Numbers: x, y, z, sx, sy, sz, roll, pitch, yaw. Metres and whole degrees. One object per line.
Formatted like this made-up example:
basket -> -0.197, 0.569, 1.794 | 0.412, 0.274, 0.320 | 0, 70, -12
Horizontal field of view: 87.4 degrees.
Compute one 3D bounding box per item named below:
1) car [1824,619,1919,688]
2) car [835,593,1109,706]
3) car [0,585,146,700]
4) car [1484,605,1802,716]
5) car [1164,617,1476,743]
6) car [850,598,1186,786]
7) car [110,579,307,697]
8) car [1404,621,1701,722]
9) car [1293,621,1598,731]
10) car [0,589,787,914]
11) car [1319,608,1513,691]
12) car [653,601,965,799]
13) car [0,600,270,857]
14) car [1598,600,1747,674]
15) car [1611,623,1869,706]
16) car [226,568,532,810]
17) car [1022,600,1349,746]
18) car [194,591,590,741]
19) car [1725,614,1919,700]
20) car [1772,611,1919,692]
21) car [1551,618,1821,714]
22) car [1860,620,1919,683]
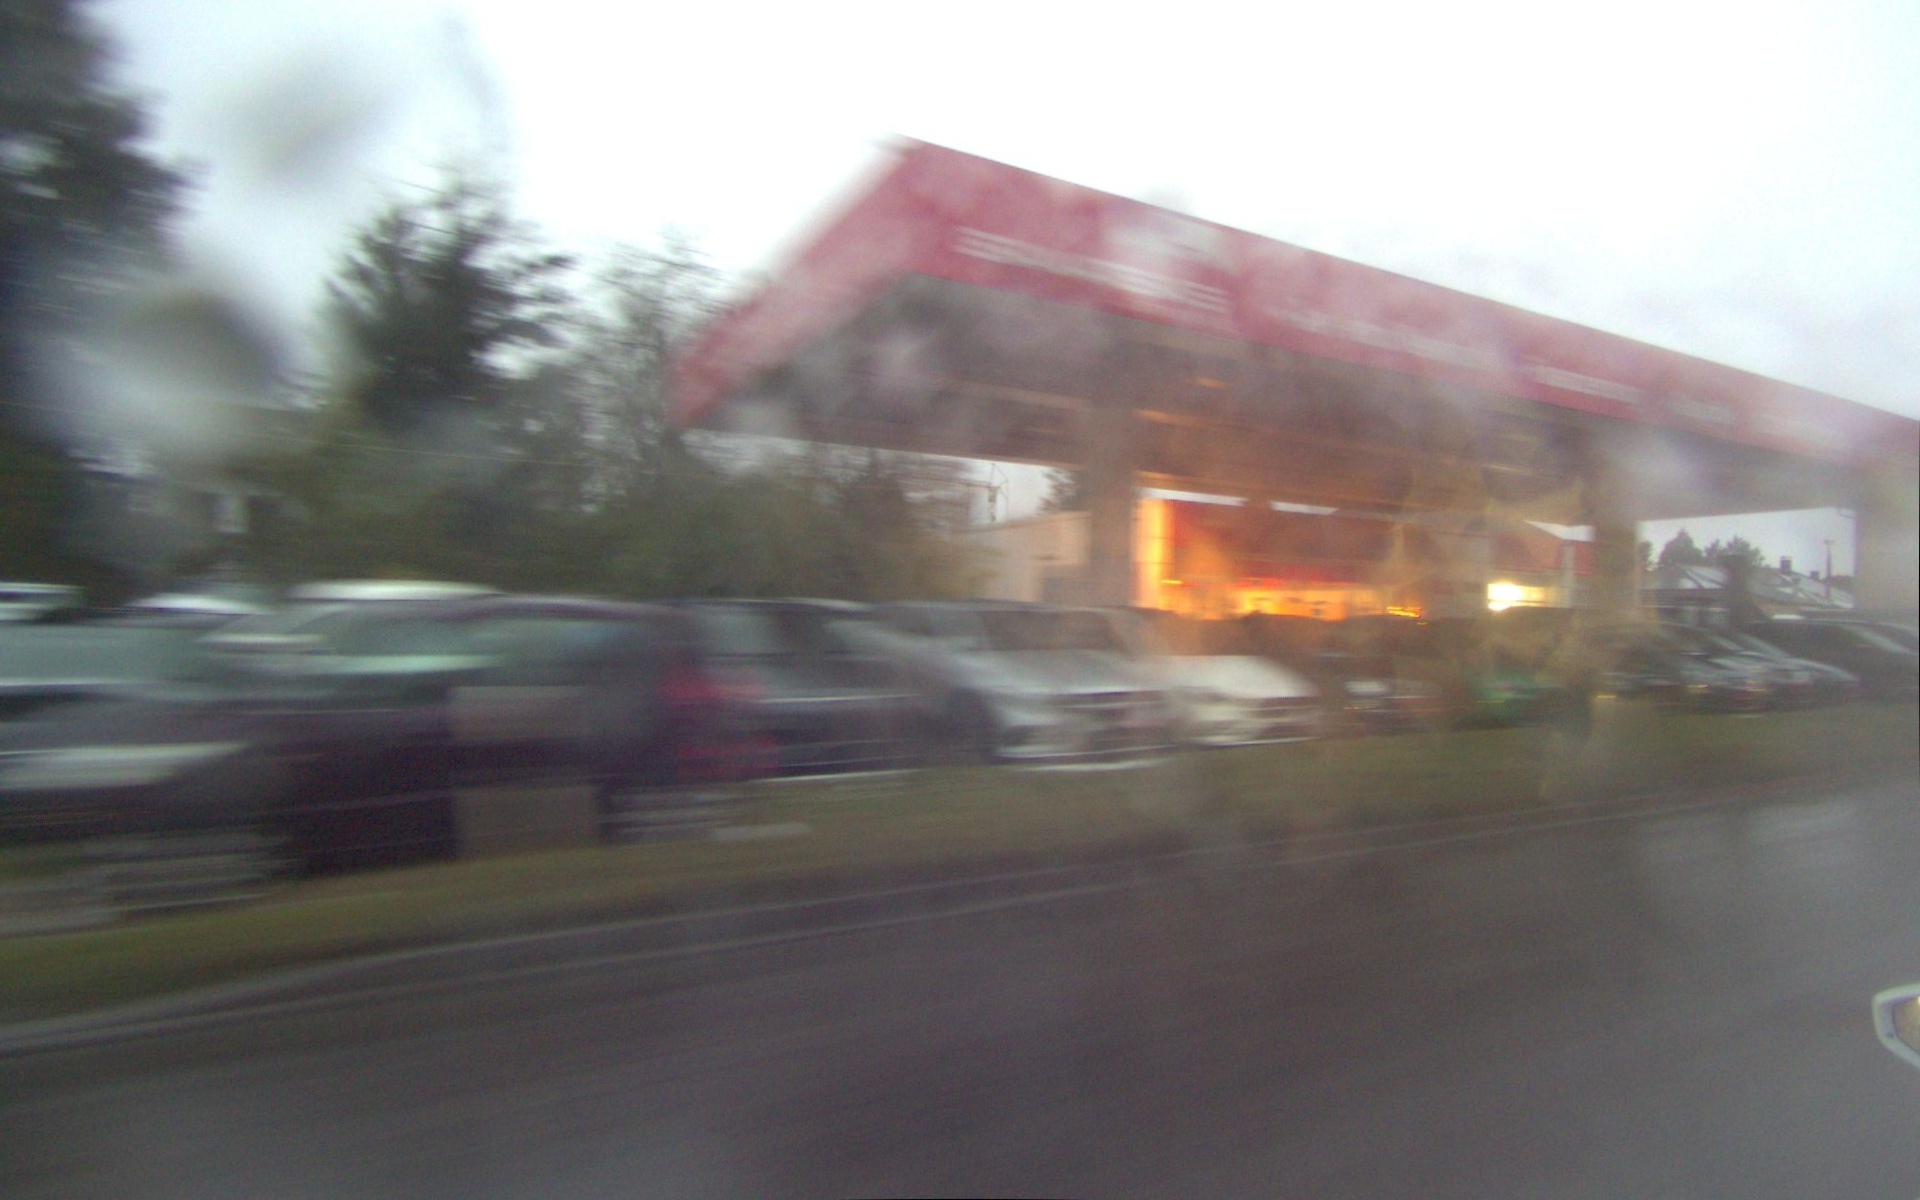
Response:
car -> 25.781, 1.475, 26.345 | 1.976, 1.685, 4.257 | 2, 2, -29
car -> 0.214, 0.724, 16.063 | 3.994, 1.575, 1.859 | 1, 1, -29
car -> -13.593, 0.537, 14.670 | 1.935, 1.485, 3.969 | 1, 0, -29
car -> 11.915, 0.973, 17.848 | 1.957, 1.678, 4.260 | 1, -1, -30
car -> 4.815, 0.994, 13.966 | 1.818, 1.424, 3.840 | 1, -1, -30
car -> 0.415, 0.814, 11.040 | 1.802, 1.575, 4.012 | 1, 1, -29
car -> -11.678, 0.515, 15.903 | 1.935, 1.597, 3.969 | 1, 0, -29
car -> 9.585, 1.080, 16.551 | 1.818, 1.363, 3.840 | 1, -1, -30
car -> 7.205, 1.053, 15.285 | 1.818, 1.363, 3.840 | 1, -1, -30
car -> -3.078, 0.713, 6.018 | 3.694, 1.439, 1.676 | 1, -1, -28
car -> 10.147, 1.060, 22.302 | 4.098, 1.678, 1.880 | 2, 0, -30
car -> -1.706, 0.815, 10.084 | 1.818, 1.471, 3.840 | 1, 1, -30
car -> -6.418, 0.748, 7.414 | 1.818, 1.364, 3.840 | 1, 1, -30
car -> 19.493, 1.009, 27.440 | 3.954, 1.893, 1.877 | 2, -1, -31
car -> 16.033, 1.253, 20.848 | 1.818, 1.461, 3.840 | 1, -1, -30
car -> -5.121, 0.641, 9.178 | 1.917, 1.672, 4.032 | 1, -1, -27
car -> 2.637, 0.786, 12.631 | 1.921, 1.428, 3.840 | 1, 1, -30
car -> -6.572, 0.705, 12.001 | 3.823, 1.509, 1.826 | 1, 1, -29
car -> 21.214, 1.304, 23.954 | 1.976, 1.685, 4.257 | 2, 2, -29
car -> 23.525, 1.311, 25.327 | 1.976, 1.787, 4.257 | 2, 2, -29
car -> 13.891, 1.191, 19.448 | 1.818, 1.580, 3.840 | 1, -1, -30
car -> 28.088, 1.546, 27.781 | 2.111, 1.685, 4.257 | 2, 2, -29
